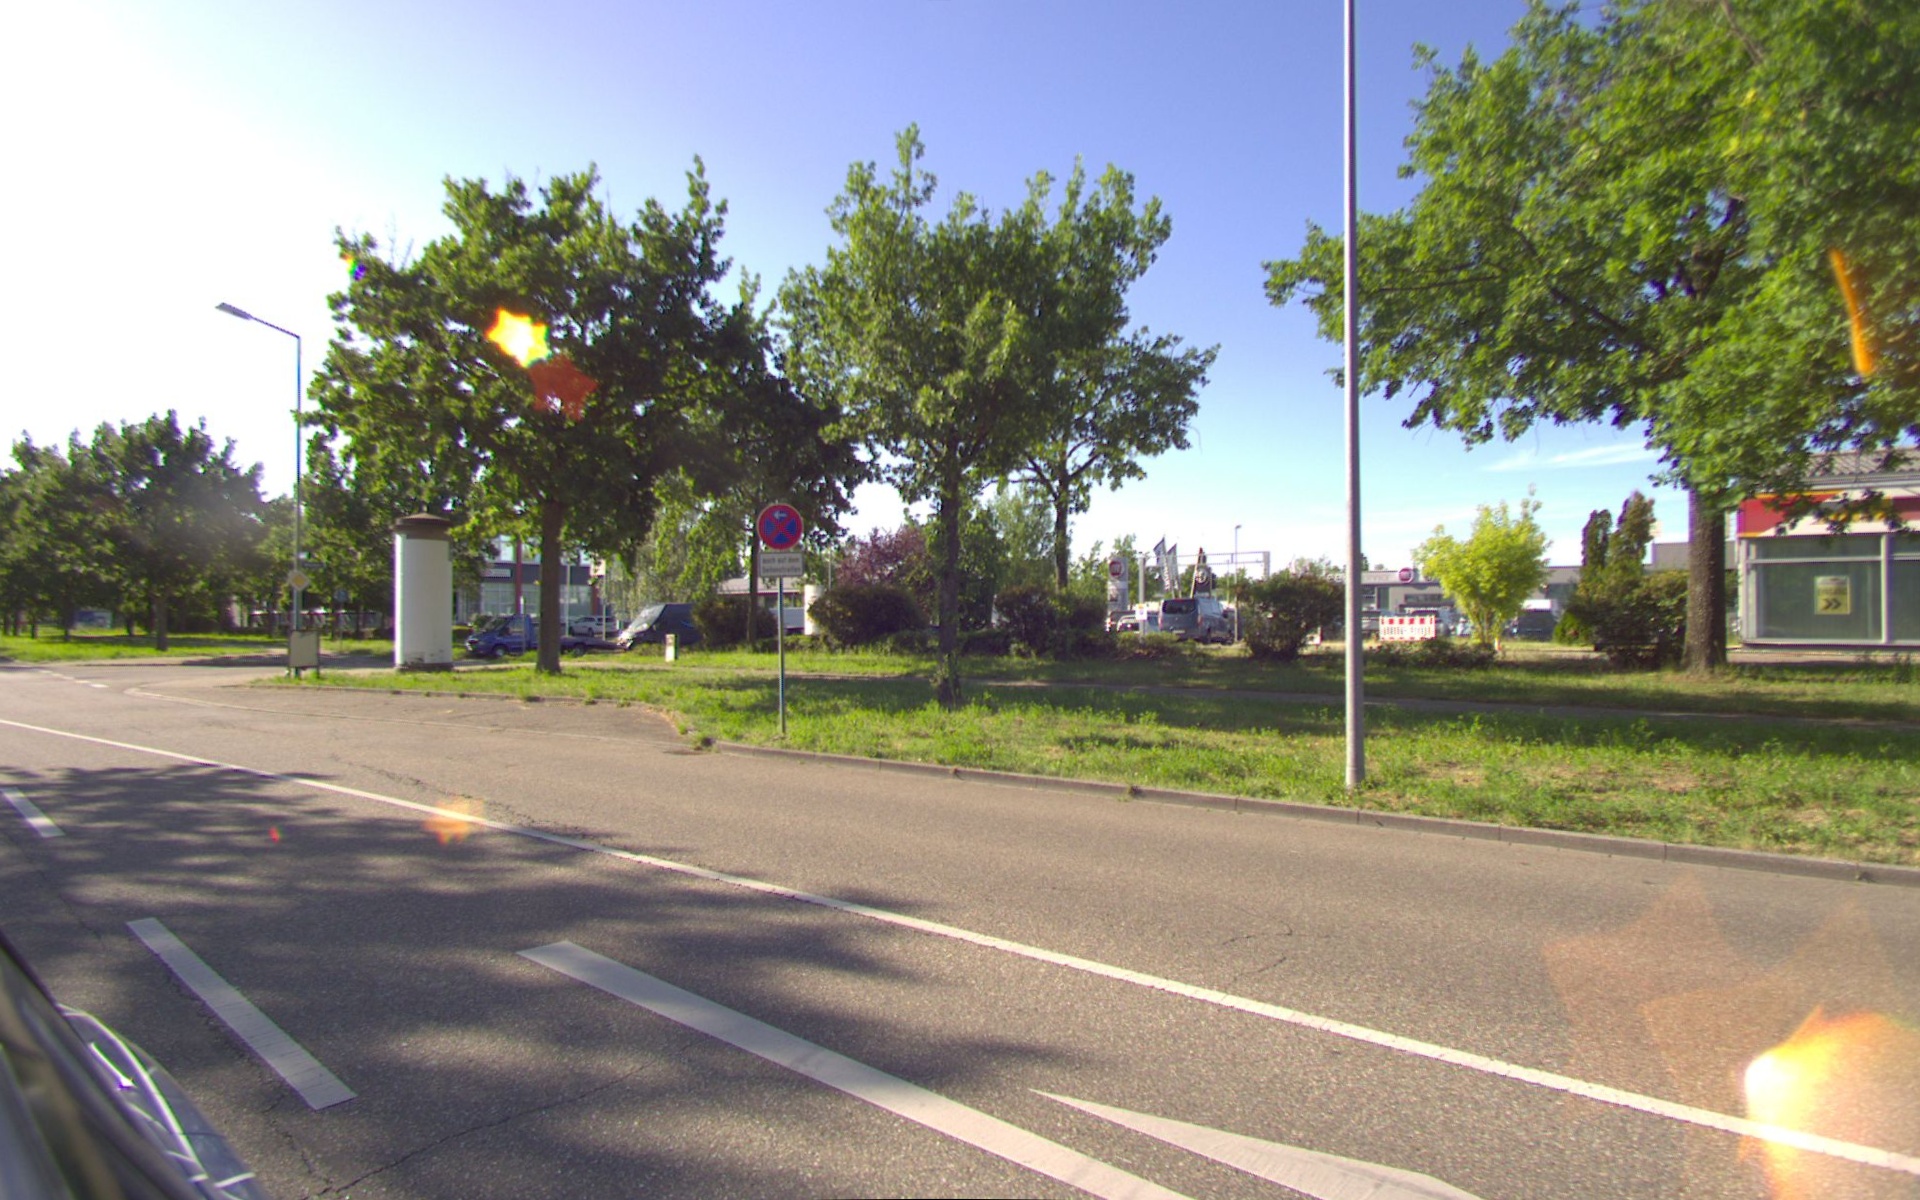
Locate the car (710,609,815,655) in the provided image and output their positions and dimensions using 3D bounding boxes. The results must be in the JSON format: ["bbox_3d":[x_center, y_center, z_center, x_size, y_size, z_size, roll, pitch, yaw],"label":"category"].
[{"bbox_3d":[-11.727,1.830,60.555,2.297,2.535,6.281,-1,0,37],"label":"car"}]

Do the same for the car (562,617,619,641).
[{"bbox_3d":[-26.540,2.069,72.590,4.295,1.505,1.973,2,2,40],"label":"car"}]

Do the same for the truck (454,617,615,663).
[{"bbox_3d":[-20.314,1.883,48.725,2.138,2.065,7.044,0,-2,37],"label":"truck"}]

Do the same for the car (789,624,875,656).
[{"bbox_3d":[-6.234,1.963,49.534,1.821,1.493,4.152,-3,-3,37],"label":"car"}]

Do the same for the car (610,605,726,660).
[{"bbox_3d":[-15.733,1.677,54.857,2.297,2.723,5.808,-1,0,37],"label":"car"}]

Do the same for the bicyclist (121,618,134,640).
[{"bbox_3d":[-63.616,2.214,77.329,0.659,1.641,0.657,-1,0,43],"label":"bicyclist"}]

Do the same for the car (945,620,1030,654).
[{"bbox_3d":[1.397,1.793,49.565,1.882,1.563,4.603,-1,-2,37],"label":"car"}]

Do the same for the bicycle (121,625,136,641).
[{"bbox_3d":[-63.551,2.513,77.329,2.334,1.170,0.545,0,0,43],"label":"bicycle"}]

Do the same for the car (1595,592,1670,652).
[{"bbox_3d":[18.164,0.579,27.280,1.589,1.509,3.564,0,-1,35],"label":"car"}]

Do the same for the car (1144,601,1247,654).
[{"bbox_3d":[9.995,1.157,42.720,2.297,2.085,5.359,-1,-2,37],"label":"car"}]

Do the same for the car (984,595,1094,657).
[{"bbox_3d":[3.827,1.136,47.733,2.297,2.723,6.103,-1,0,37],"label":"car"}]

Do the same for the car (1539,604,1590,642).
[{"bbox_3d":[33.091,1.249,55.356,1.882,2.029,3.948,-1,-2,39],"label":"car"}]

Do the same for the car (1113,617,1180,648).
[{"bbox_3d":[8.375,1.441,45.255,1.572,1.312,3.489,-1,-1,37],"label":"car"}]
